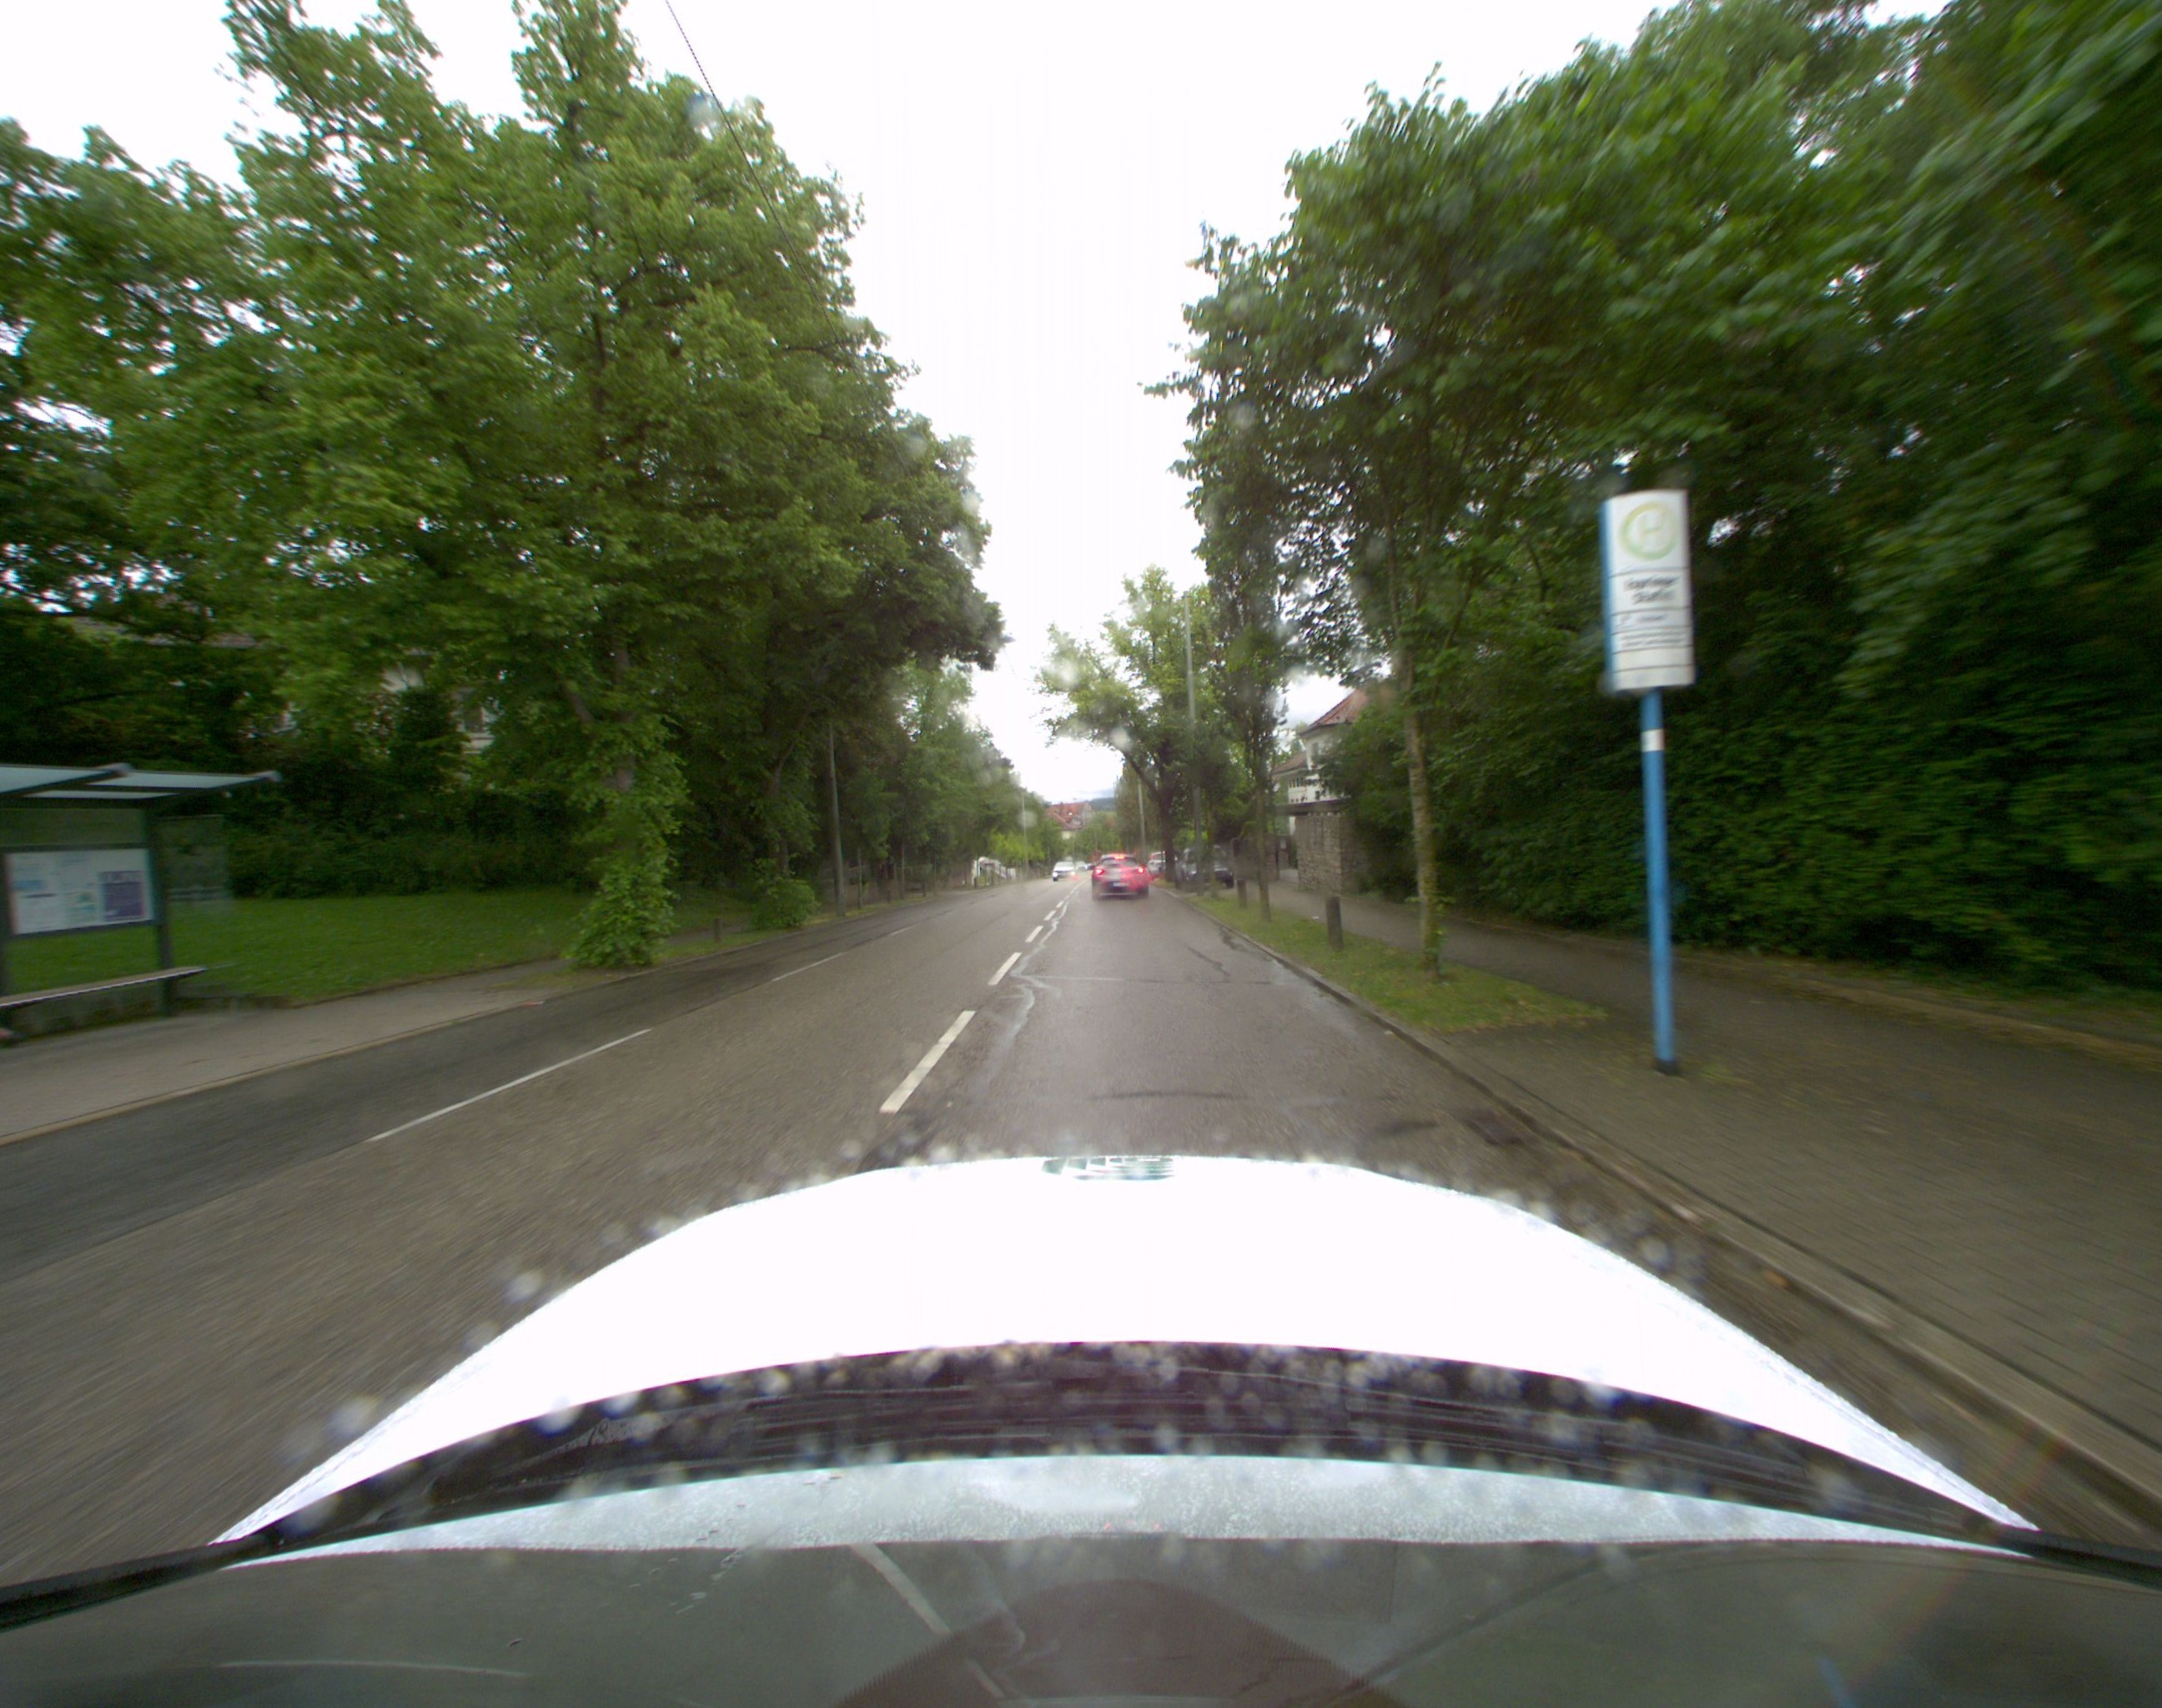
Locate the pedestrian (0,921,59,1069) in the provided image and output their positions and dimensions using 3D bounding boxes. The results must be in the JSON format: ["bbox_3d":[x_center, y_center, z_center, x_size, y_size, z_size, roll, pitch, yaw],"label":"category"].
[{"bbox_3d":[-11.040,1.408,7.966,0.932,1.403,0.920,0,1,8],"label":"pedestrian"}]

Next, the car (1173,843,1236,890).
[{"bbox_3d":[4.423,0.411,29.696,1.715,1.464,4.002,-4,1,2],"label":"car"}]

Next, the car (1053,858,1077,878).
[{"bbox_3d":[-1.230,1.101,64.870,1.715,1.464,4.002,0,1,1],"label":"car"}]

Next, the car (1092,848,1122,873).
[{"bbox_3d":[1.628,0.447,50.880,1.748,1.464,4.001,-1,-1,2],"label":"car"}]

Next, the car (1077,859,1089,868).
[{"bbox_3d":[0.286,1.684,138.543,1.719,1.464,3.992,0,-1,-5],"label":"car"}]

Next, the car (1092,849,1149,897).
[{"bbox_3d":[1.321,0.635,27.494,1.747,1.464,4.001,-1,-1,2],"label":"car"}]

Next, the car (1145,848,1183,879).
[{"bbox_3d":[4.527,0.461,44.862,1.715,1.464,4.002,-4,1,2],"label":"car"}]
